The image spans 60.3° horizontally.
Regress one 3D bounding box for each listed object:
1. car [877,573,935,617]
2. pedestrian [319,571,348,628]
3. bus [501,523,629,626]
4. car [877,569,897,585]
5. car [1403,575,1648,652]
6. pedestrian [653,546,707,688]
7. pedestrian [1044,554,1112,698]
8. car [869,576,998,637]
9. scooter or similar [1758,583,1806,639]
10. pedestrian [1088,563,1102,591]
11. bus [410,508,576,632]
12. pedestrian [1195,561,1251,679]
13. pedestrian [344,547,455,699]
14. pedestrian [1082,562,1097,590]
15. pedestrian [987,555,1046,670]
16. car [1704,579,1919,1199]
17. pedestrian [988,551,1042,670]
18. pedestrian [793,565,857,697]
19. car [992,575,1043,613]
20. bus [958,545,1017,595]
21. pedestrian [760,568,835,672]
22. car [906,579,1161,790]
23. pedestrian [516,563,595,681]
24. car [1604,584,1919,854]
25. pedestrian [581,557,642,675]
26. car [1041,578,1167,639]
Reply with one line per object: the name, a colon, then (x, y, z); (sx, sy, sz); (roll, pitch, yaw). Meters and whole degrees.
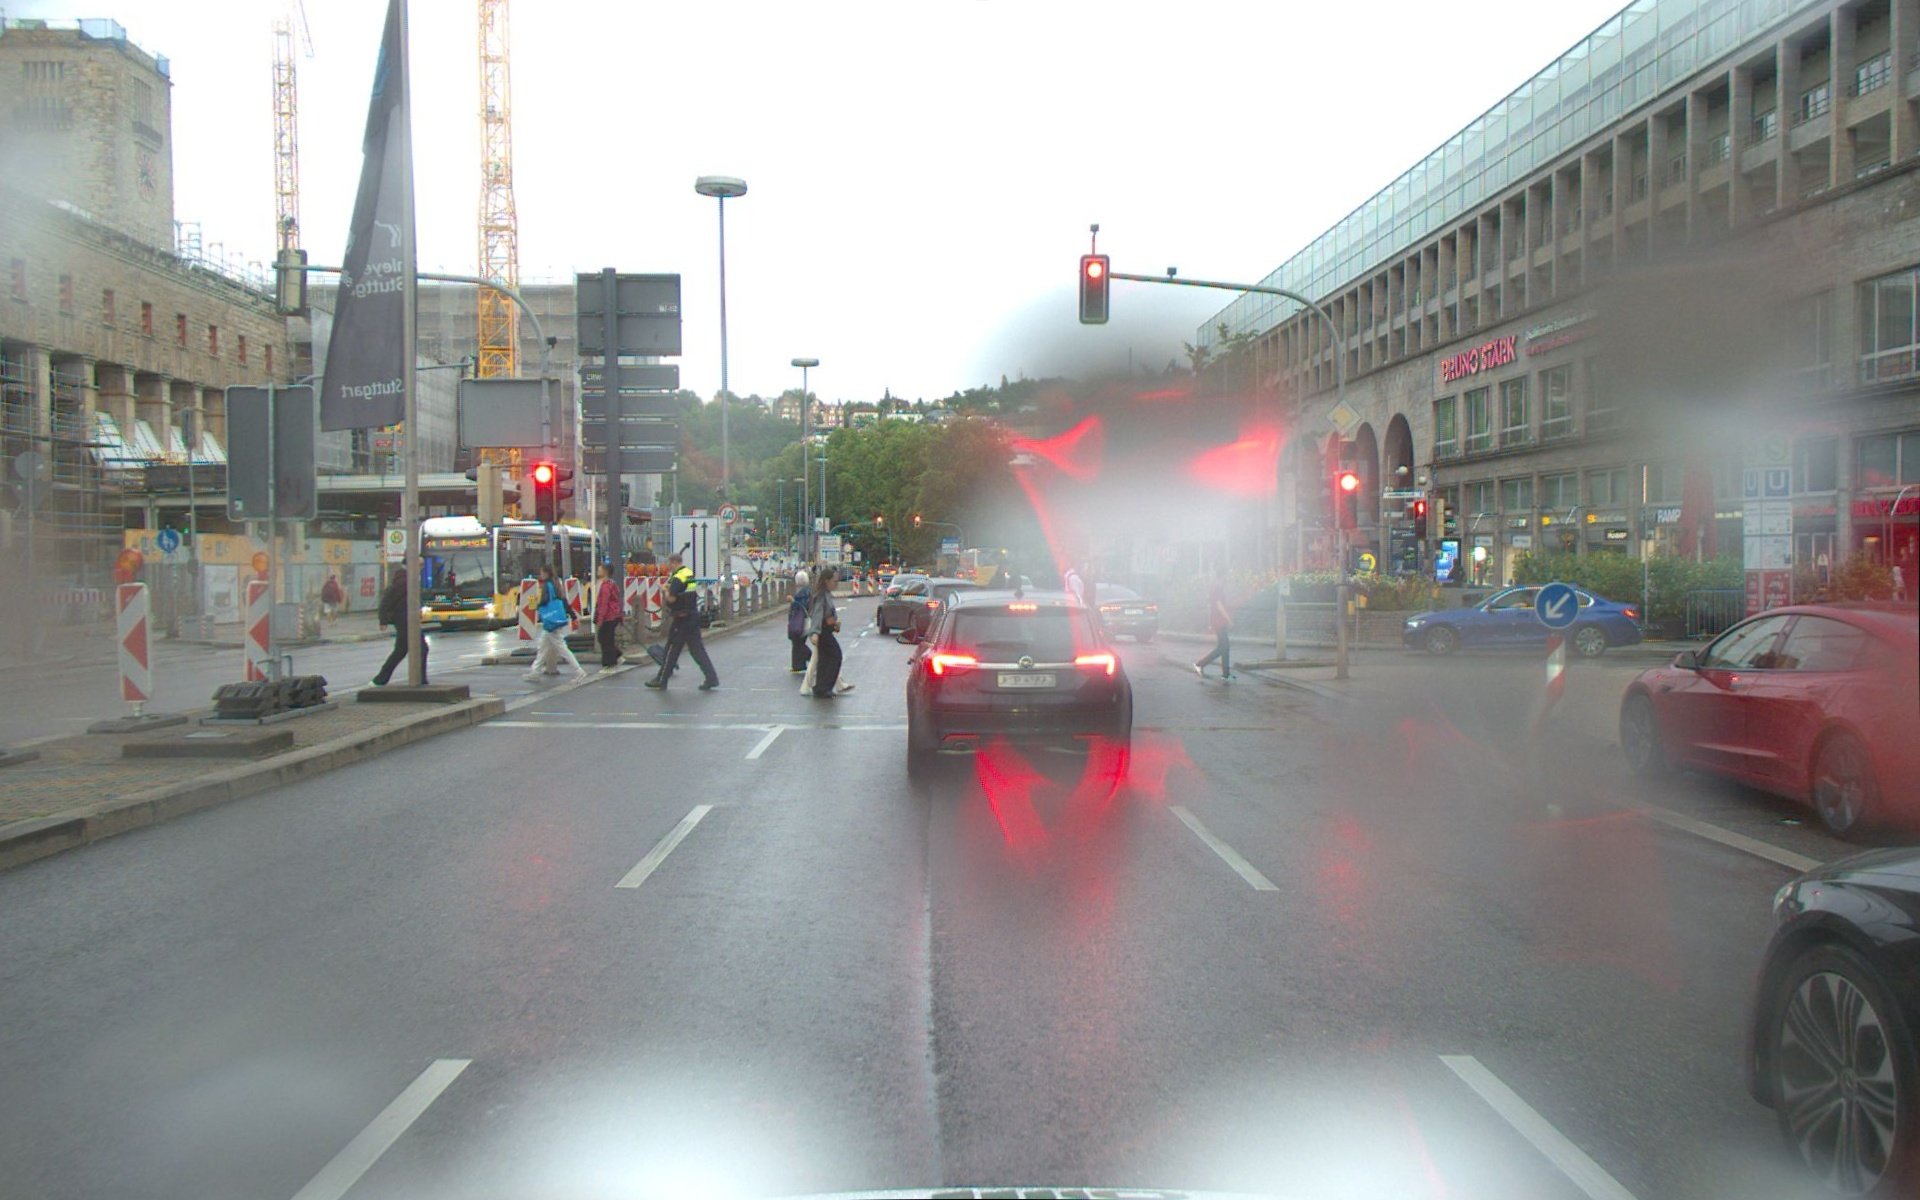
car: (-1.890, -0.165, 56.569); (1.719, 1.422, 4.533); (1, 0, -5)
pedestrian: (-21.104, -0.023, 55.700); (0.648, 1.887, 0.798); (-1, 0, -1)
bus: (-15.264, -0.950, 64.740); (2.614, 3.665, 10.210); (1, 0, -1)
car: (-6.865, -2.191, 155.953); (1.723, 1.422, 3.563); (1, 0, -1)
car: (11.254, 0.256, 33.177); (4.536, 1.422, 1.760); (1, 0, 17)
pedestrian: (-3.751, 0.226, 22.209); (0.566, 1.868, 0.820); (1, 0, -1)
pedestrian: (1.600, 0.349, 22.511); (0.784, 1.923, 0.619); (1, 0, -9)
car: (-0.724, 0.144, 41.186); (1.728, 1.422, 4.508); (1, 0, -21)
scooter or similar: (17.895, 0.227, 36.007); (0.285, 1.210, 1.014); (1, 0, -19)
pedestrian: (8.225, -1.410, 100.858); (0.748, 1.720, 0.824); (1, 0, -5)
bus: (-15.141, -0.911, 54.556); (2.614, 3.665, 10.238); (1, 0, -1)
pedestrian: (4.063, 0.302, 25.504); (0.560, 1.783, 0.676); (1, 0, 42)
pedestrian: (-6.823, 0.271, 20.172); (1.074, 1.782, 0.653); (-2, 0, -3)
pedestrian: (7.971, -1.463, 101.967); (0.748, 1.720, 0.824); (1, 0, -5)
pedestrian: (0.809, 0.177, 23.833); (0.783, 1.636, 0.619); (1, 0, -4)
car: (3.041, 0.736, 2.411); (1.757, 1.528, 4.627); (1, 0, -1)
pedestrian: (0.817, 0.156, 24.644); (0.740, 1.747, 0.466); (1, 0, -4)
pedestrian: (-1.732, 0.388, 21.270); (0.778, 1.654, 0.899); (1, 0, -4)
car: (2.209, -0.229, 64.577); (1.808, 1.422, 3.563); (1, 0, -1)
bus: (2.018, -2.205, 127.292); (4.088, 3.529, 14.652); (1, 0, -1)
pedestrian: (-2.552, 0.305, 25.968); (0.772, 1.588, 0.871); (1, 0, 38)
car: (0.501, 0.609, 14.019); (1.836, 1.512, 3.999); (1, 0, -1)
pedestrian: (-5.609, 0.297, 22.990); (0.897, 1.591, 0.899); (1, 0, -4)
car: (6.266, 0.673, 11.367); (1.836, 1.512, 4.525); (1, 0, -1)
pedestrian: (-5.290, 0.234, 25.128); (0.783, 1.747, 0.619); (-2, 0, -4)
car: (3.516, 0.179, 41.199); (1.724, 1.422, 4.384); (1, 0, -15)
